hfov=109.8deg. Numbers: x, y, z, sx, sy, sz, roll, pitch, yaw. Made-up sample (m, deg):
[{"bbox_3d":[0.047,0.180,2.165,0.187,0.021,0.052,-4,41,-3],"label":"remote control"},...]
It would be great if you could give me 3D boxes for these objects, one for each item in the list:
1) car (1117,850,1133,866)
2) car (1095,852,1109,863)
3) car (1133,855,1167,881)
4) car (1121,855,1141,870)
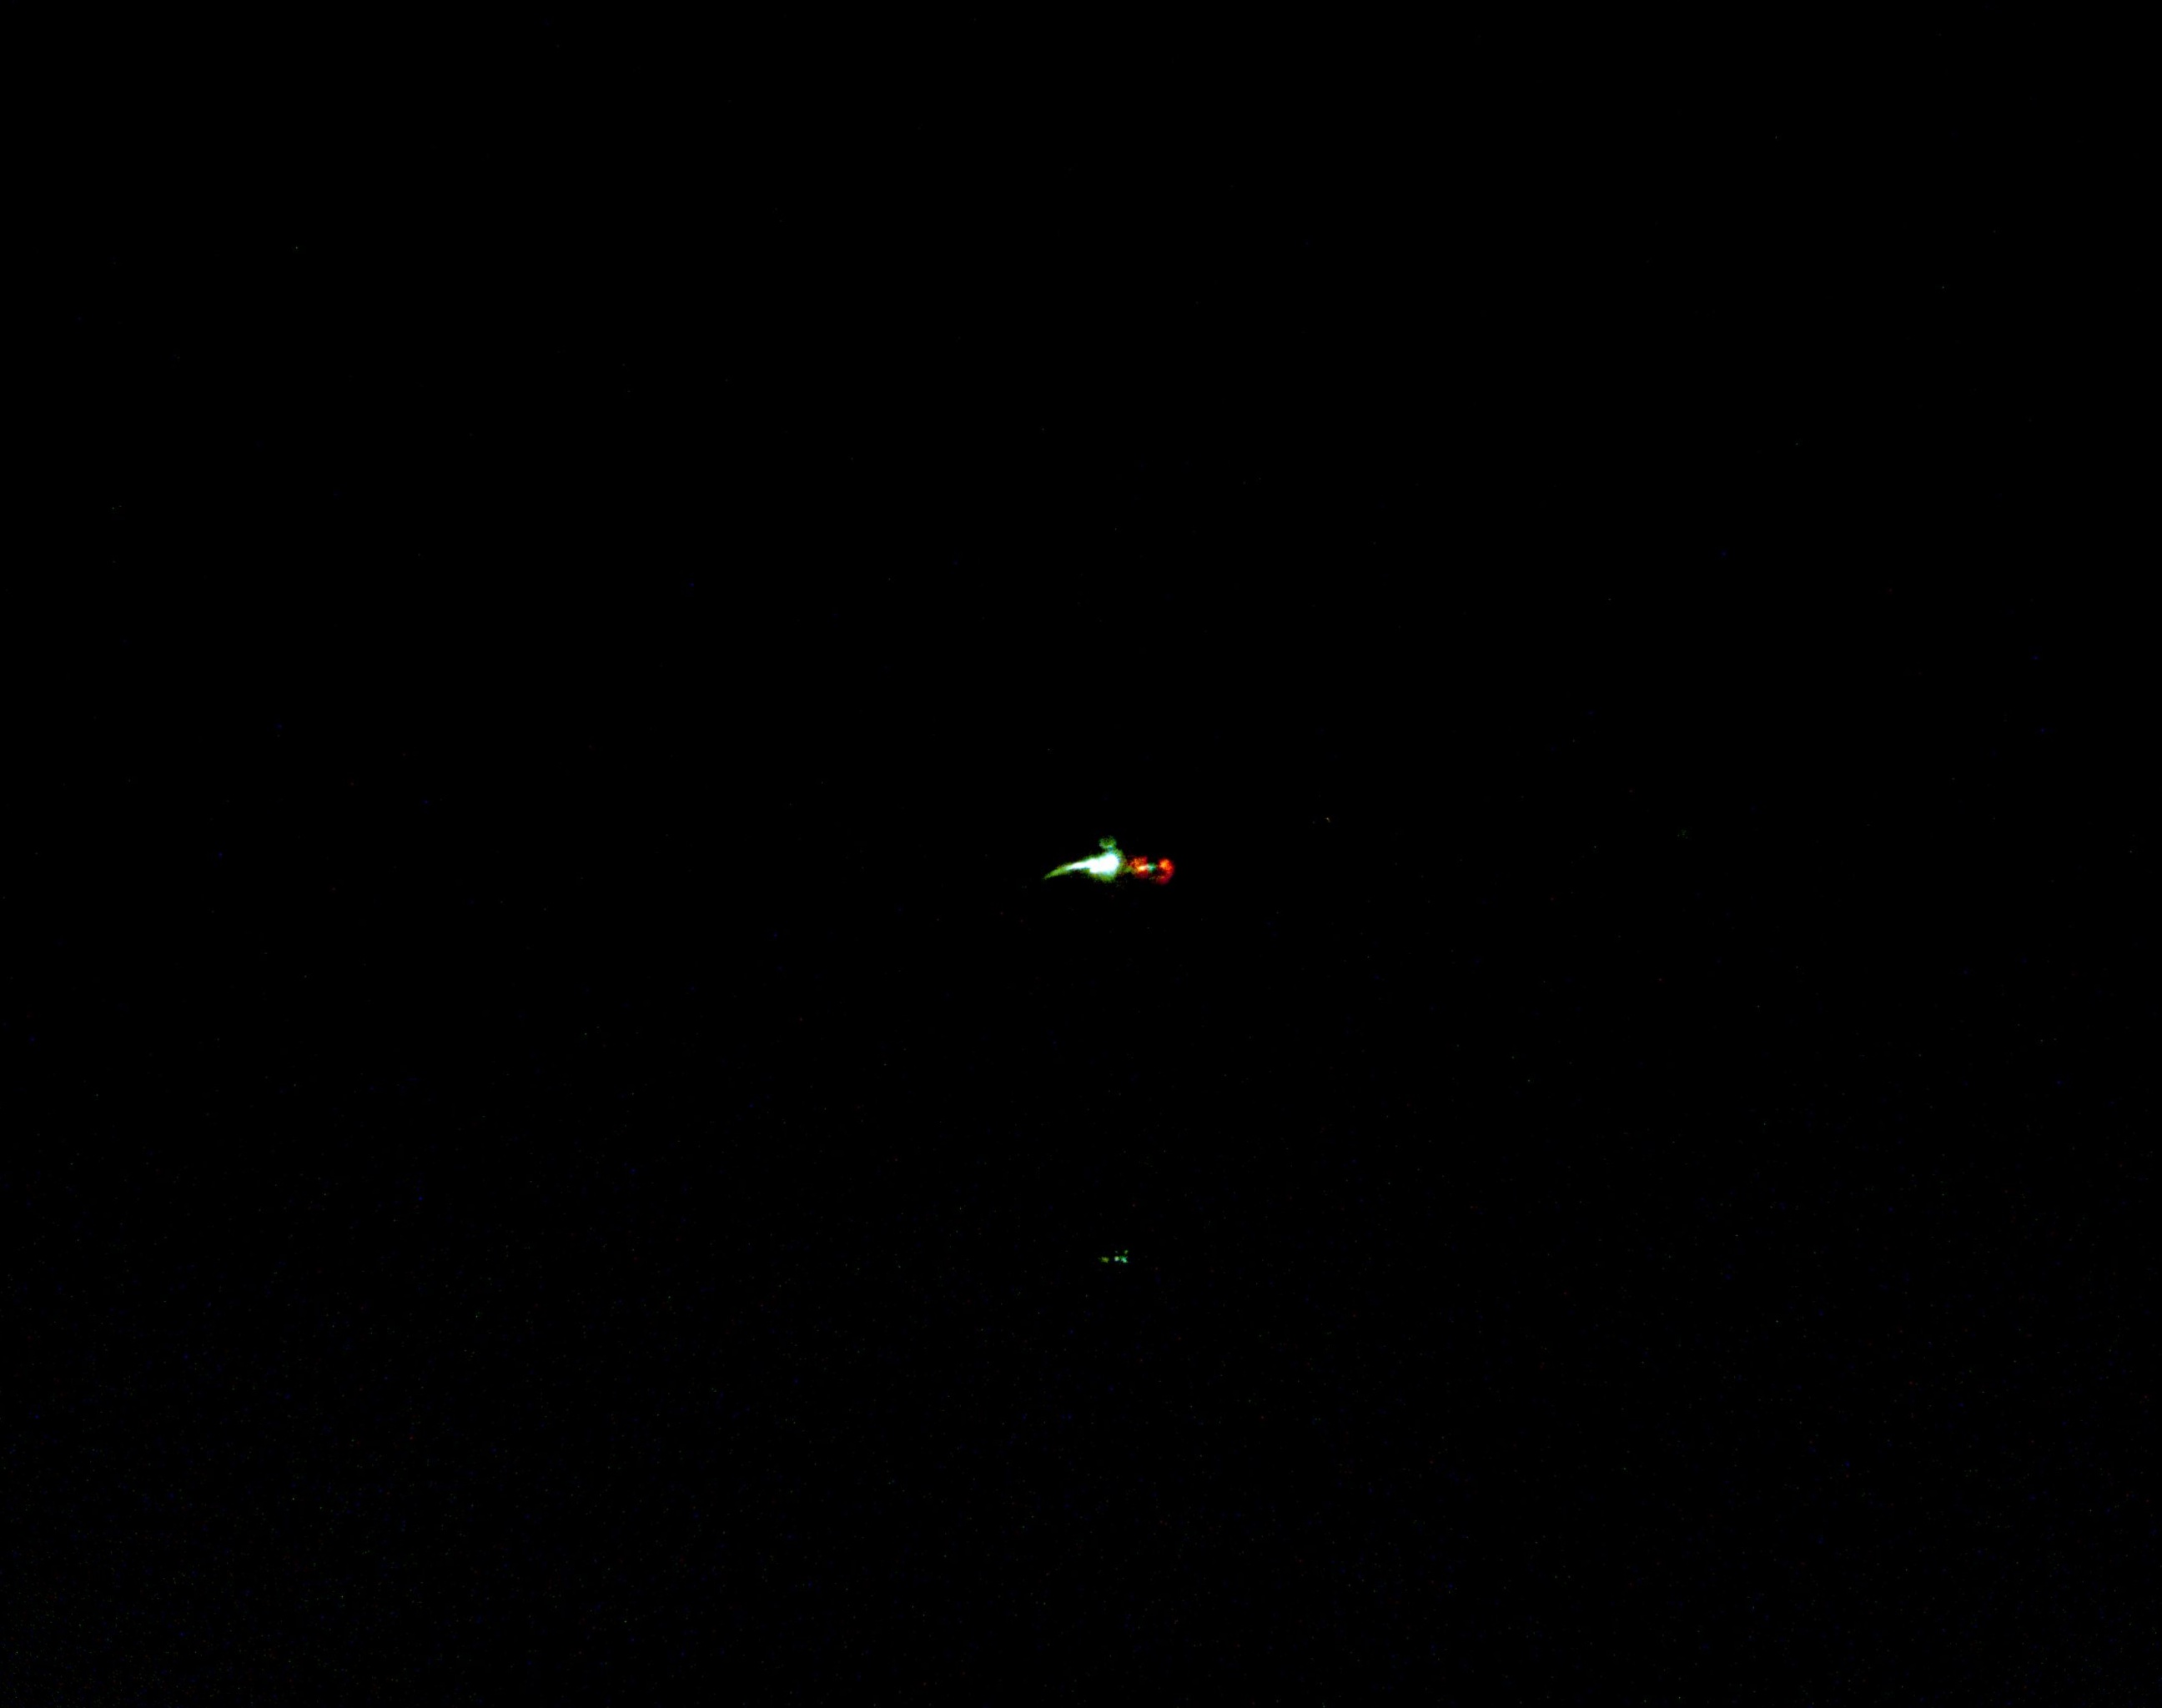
[{"bbox_3d":[5.410,0.487,94.054,1.837,1.860,4.430,-2,0,3],"label":"car"},{"bbox_3d":[3.343,0.562,119.138,1.746,1.623,3.738,-2,0,7],"label":"car"},{"bbox_3d":[4.045,0.796,44.834,1.645,1.351,3.680,-2,0,0],"label":"car"},{"bbox_3d":[4.967,0.842,75.750,1.669,1.447,3.426,-2,0,0],"label":"car"}]
